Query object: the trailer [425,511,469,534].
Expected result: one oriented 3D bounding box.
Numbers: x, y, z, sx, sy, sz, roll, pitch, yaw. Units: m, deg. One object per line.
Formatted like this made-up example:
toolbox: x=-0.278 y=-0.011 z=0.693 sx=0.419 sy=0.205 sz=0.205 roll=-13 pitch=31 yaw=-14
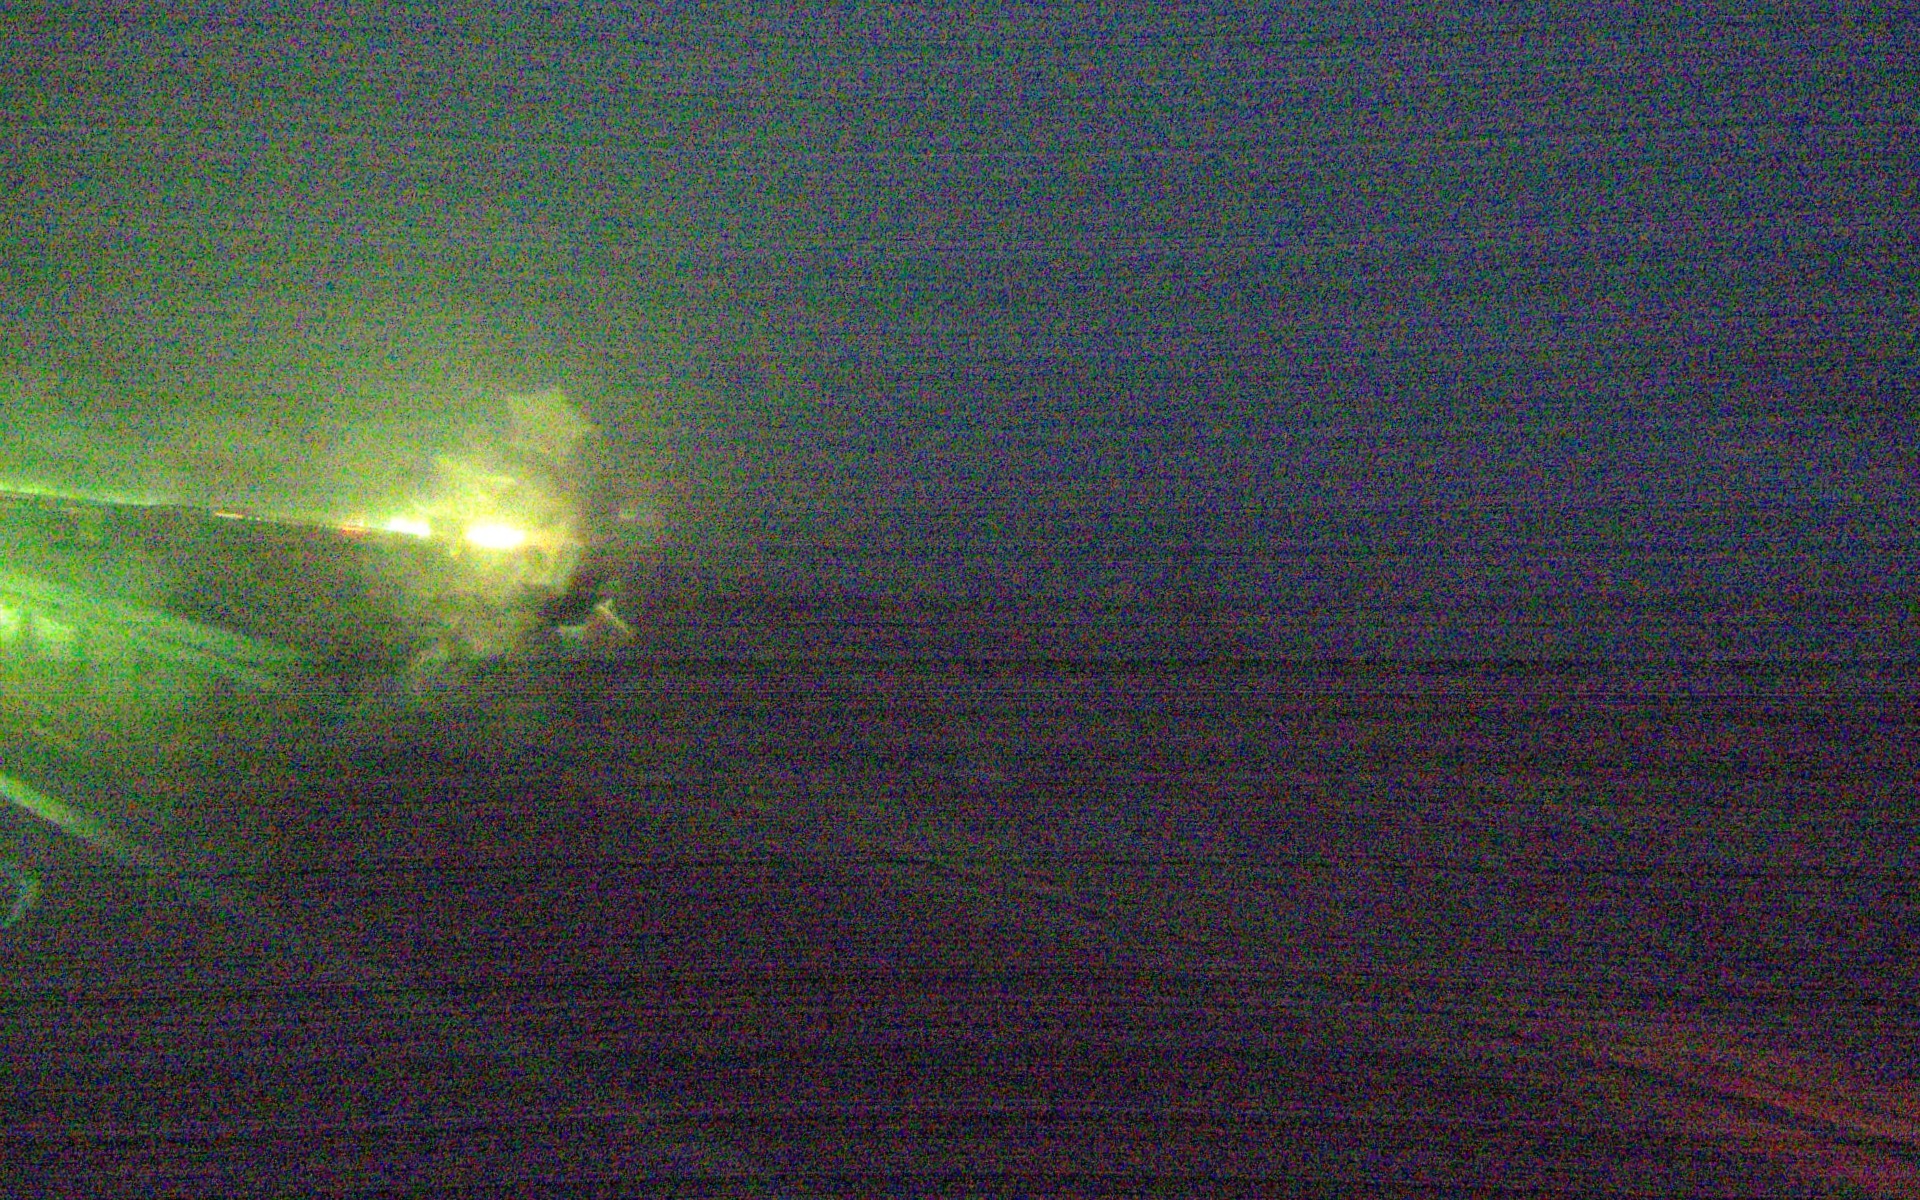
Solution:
trailer: x=-81.163 y=-12.205 z=159.522 sx=2.652 sy=2.732 sz=12.826 roll=8 pitch=0 yaw=-12
